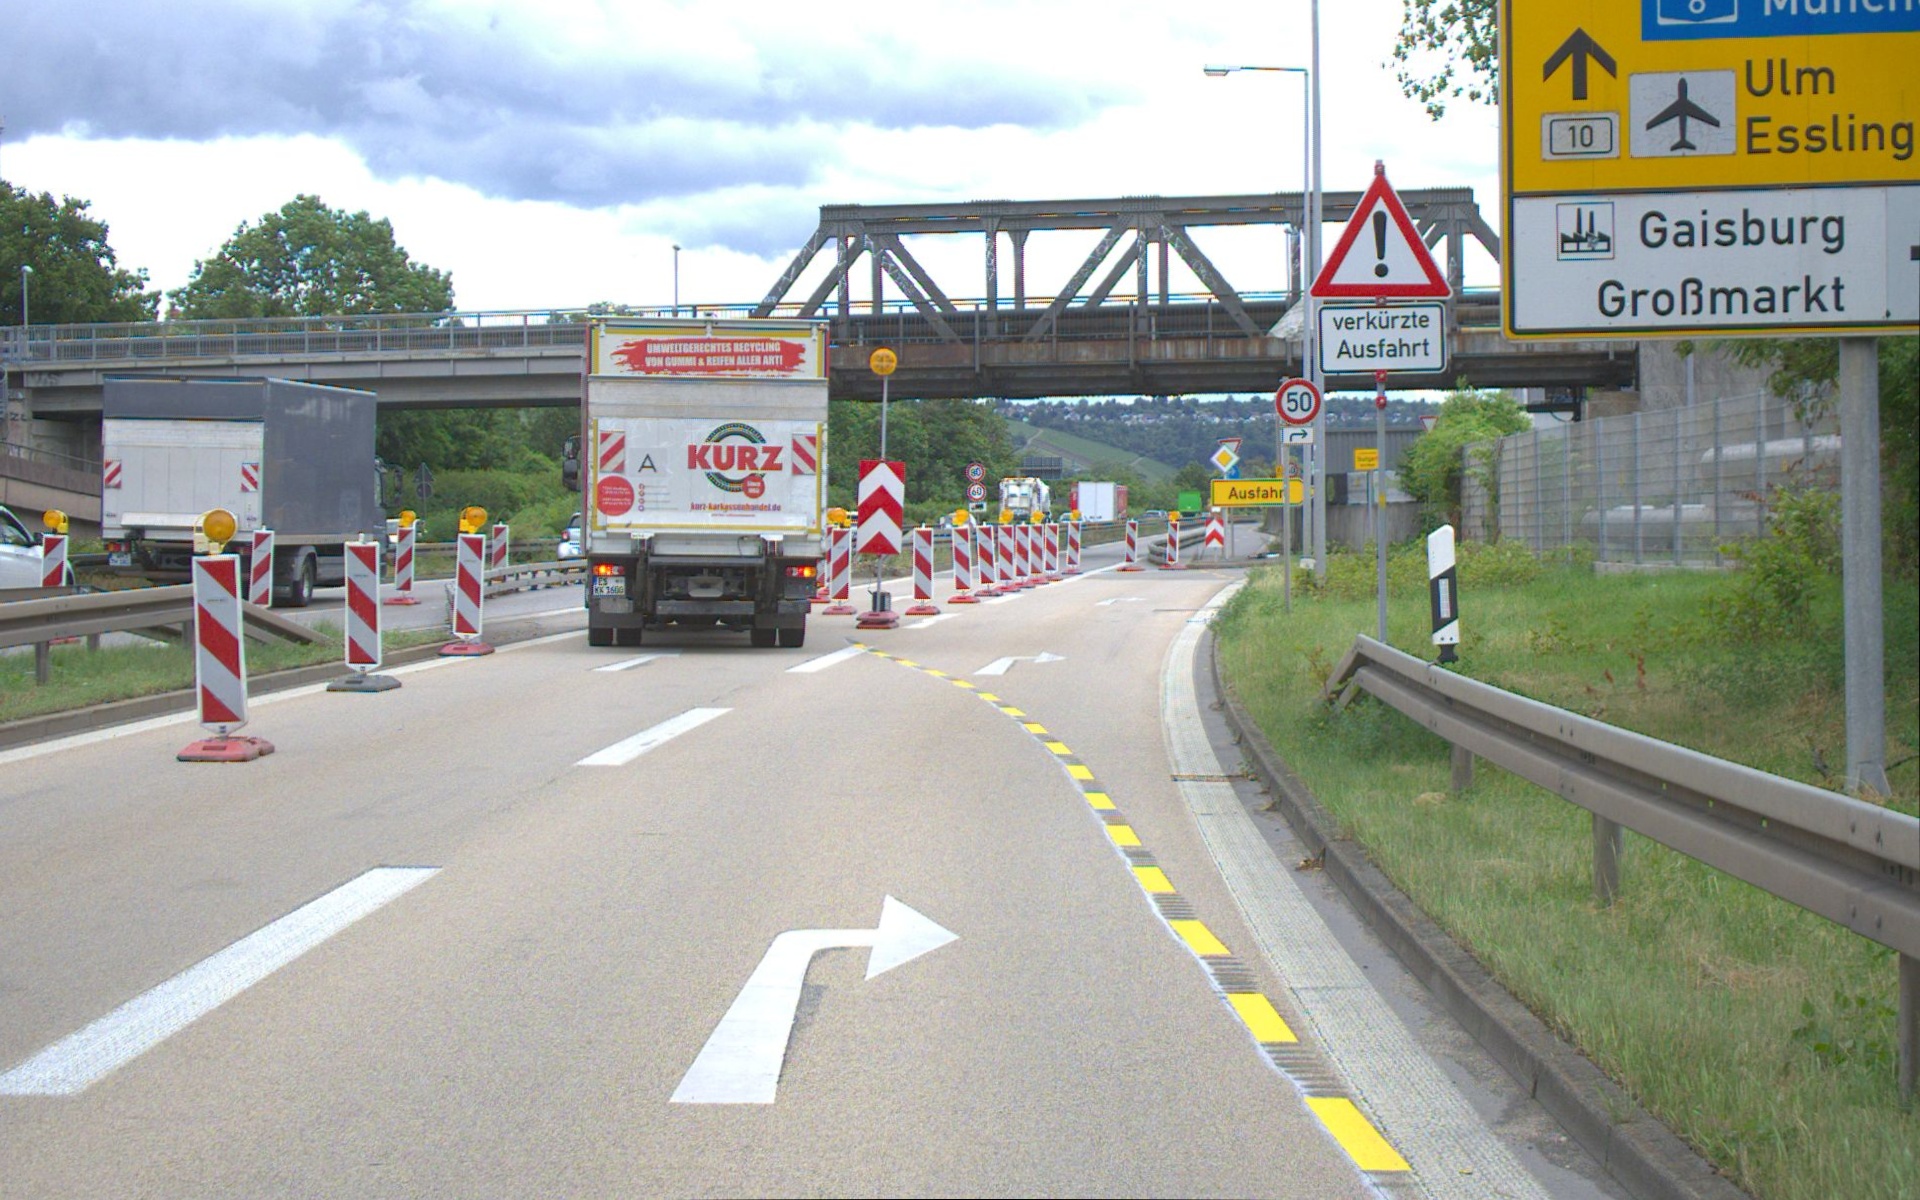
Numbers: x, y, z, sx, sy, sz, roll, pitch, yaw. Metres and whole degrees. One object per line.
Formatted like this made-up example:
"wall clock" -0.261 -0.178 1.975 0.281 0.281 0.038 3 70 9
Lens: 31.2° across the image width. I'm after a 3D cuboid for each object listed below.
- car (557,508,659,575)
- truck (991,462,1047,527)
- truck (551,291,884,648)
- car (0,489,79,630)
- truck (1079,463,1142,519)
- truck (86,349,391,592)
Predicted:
"car" -8.686 -1.443 85.122 1.993 1.612 4.000 0 1 2
"truck" 3.646 -6.398 210.191 3.286 3.839 7.664 0 1 2
"truck" -2.584 -1.378 39.344 3.051 3.660 7.927 0 1 1
"car" -12.539 -0.494 42.243 1.994 1.707 4.100 0 1 6
"truck" 9.988 -7.209 228.949 3.908 3.537 8.140 0 1 1
"truck" -11.510 -1.997 55.603 3.051 3.644 7.395 0 1 3
